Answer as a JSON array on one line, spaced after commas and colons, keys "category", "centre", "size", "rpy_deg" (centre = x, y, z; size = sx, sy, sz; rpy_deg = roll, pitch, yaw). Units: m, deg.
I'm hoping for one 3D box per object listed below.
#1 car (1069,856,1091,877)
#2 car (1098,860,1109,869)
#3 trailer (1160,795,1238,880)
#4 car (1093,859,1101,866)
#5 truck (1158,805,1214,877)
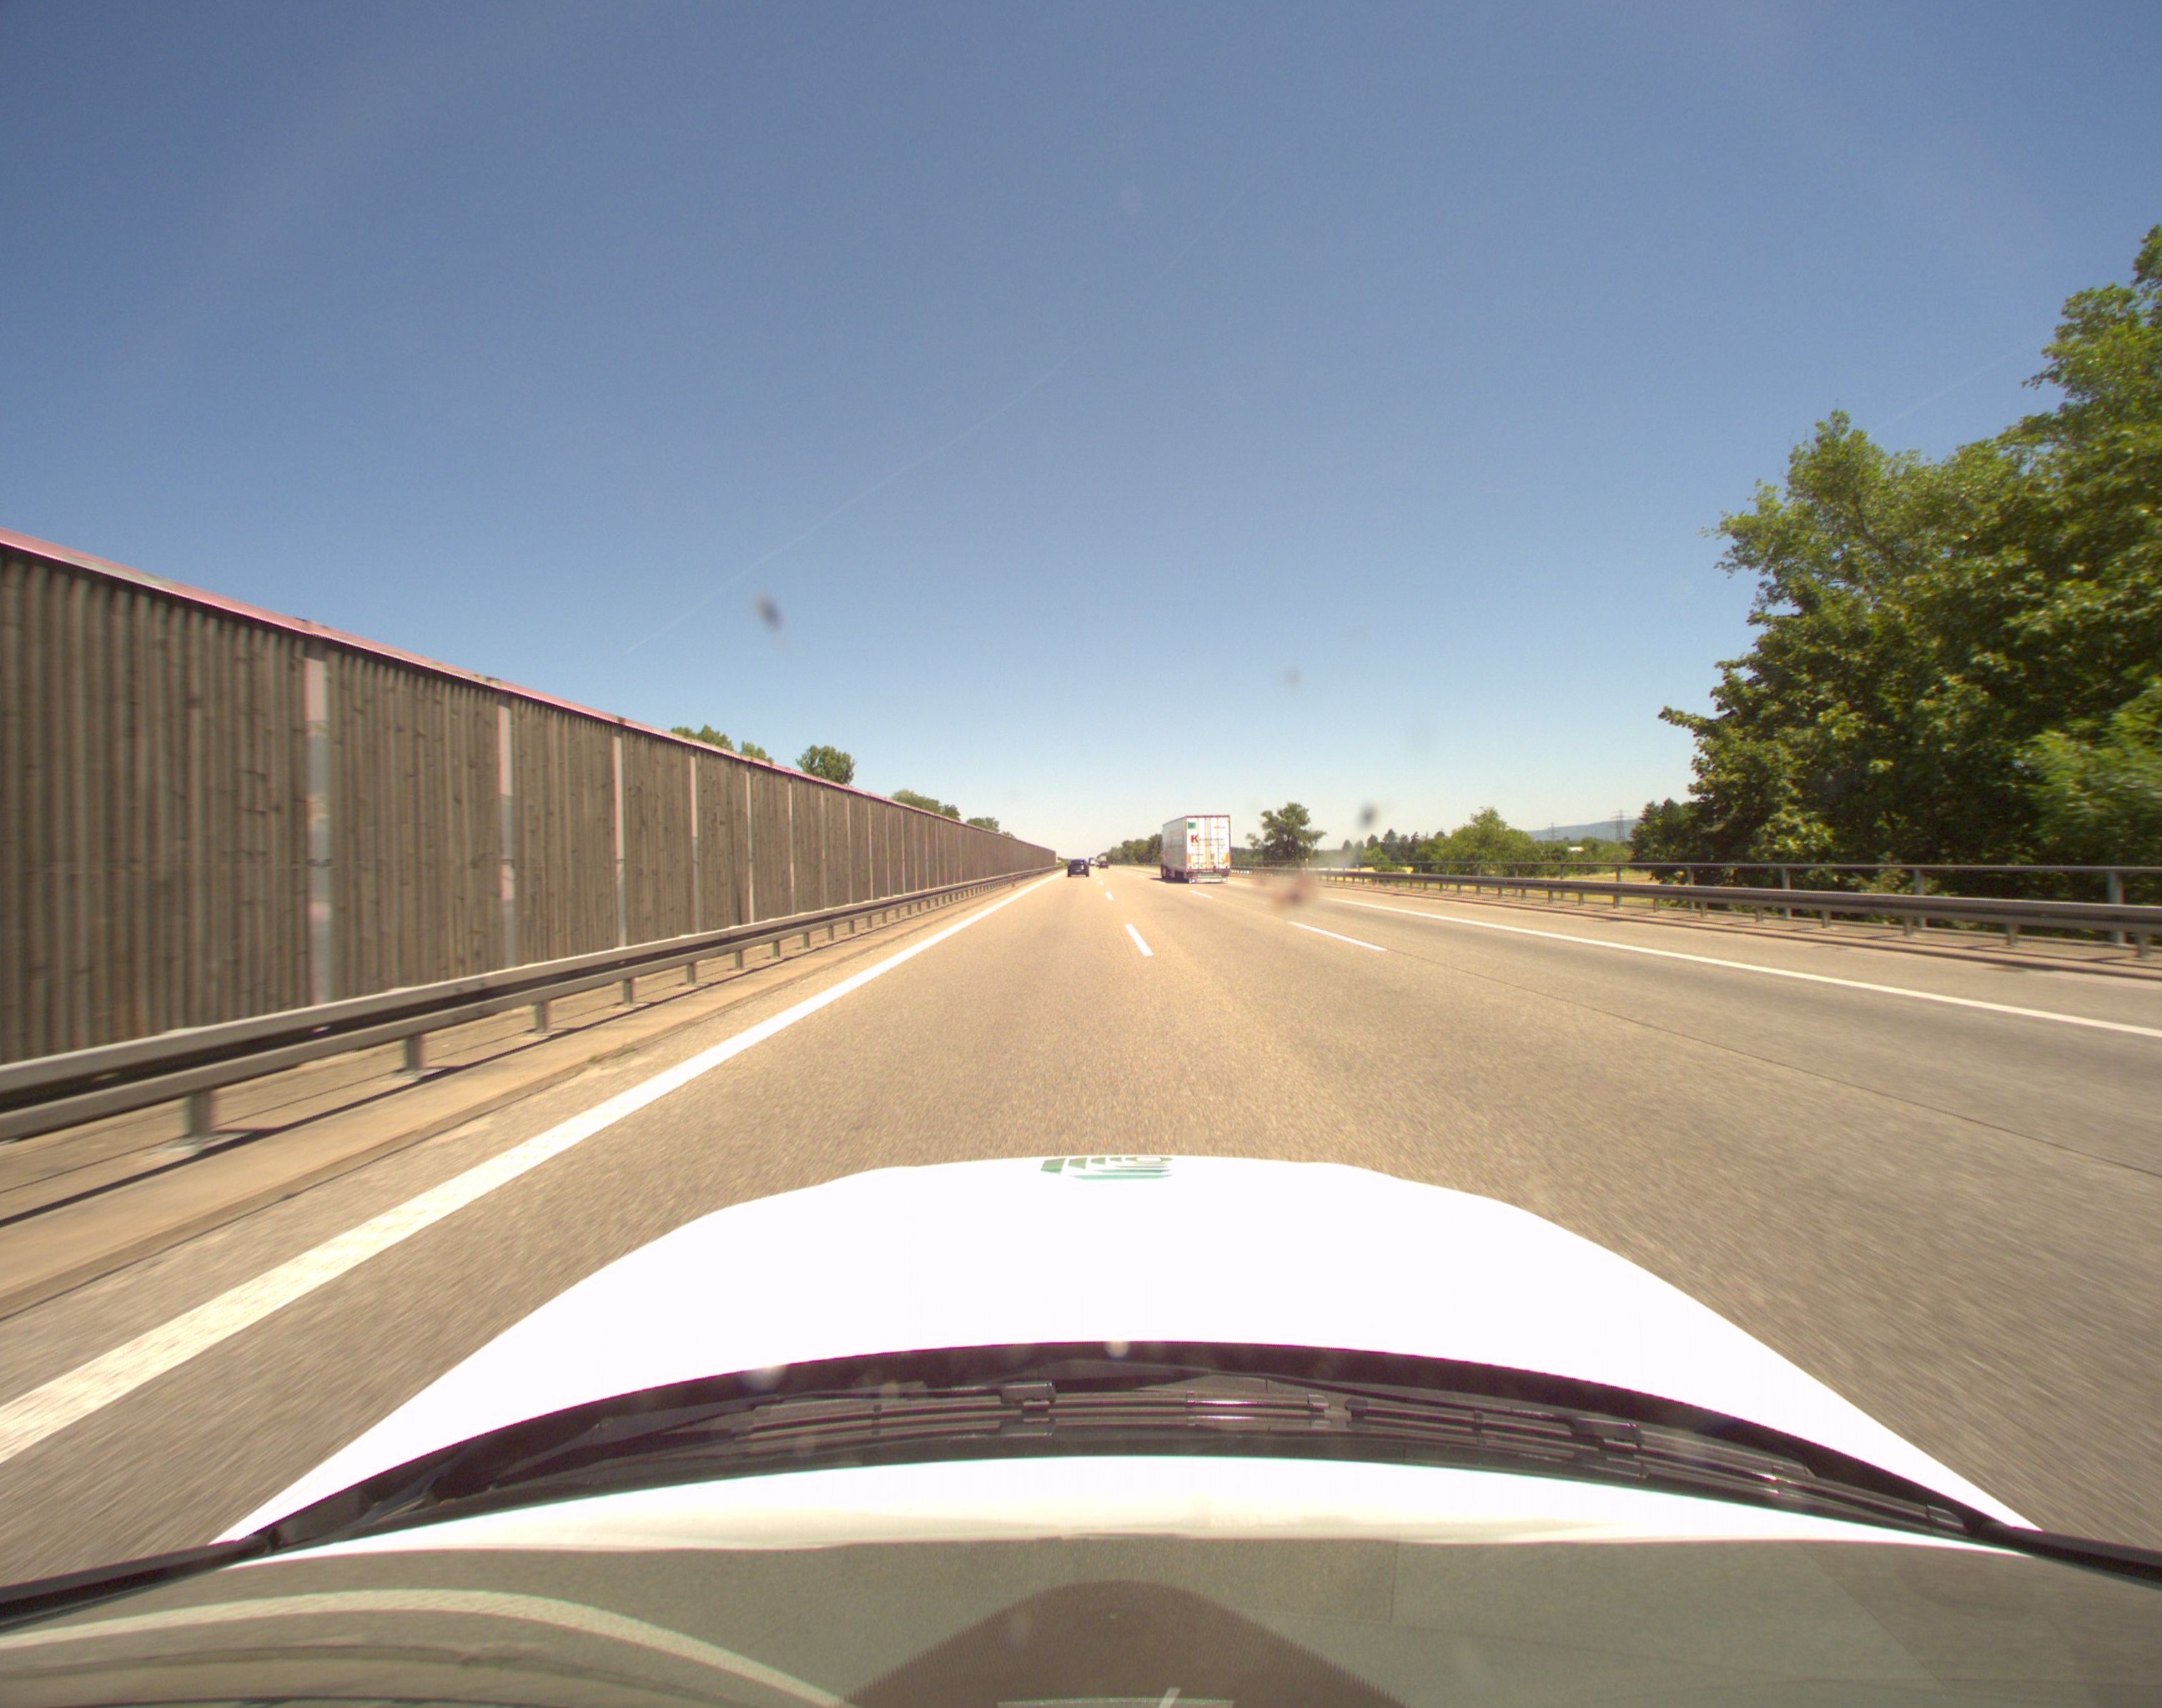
[{"category": "car", "centre": [-0.138, 1.137, 74.615], "size": [1.874, 1.792, 3.998], "rpy_deg": [-1, 0, -1]}, {"category": "car", "centre": [4.004, 1.901, 146.779], "size": [1.896, 1.584, 4.304], "rpy_deg": [-2, -1, 1]}, {"category": "trailer", "centre": [7.456, -0.920, 53.724], "size": [3.258, 4.837, 14.030], "rpy_deg": [-1, 0, 1]}, {"category": "car", "centre": [3.923, 2.028, 196.753], "size": [1.896, 1.584, 4.304], "rpy_deg": [-2, -1, 1]}, {"category": "truck", "centre": [7.559, -0.897, 59.715], "size": [3.223, 4.889, 6.972], "rpy_deg": [-1, 0, 1]}]
